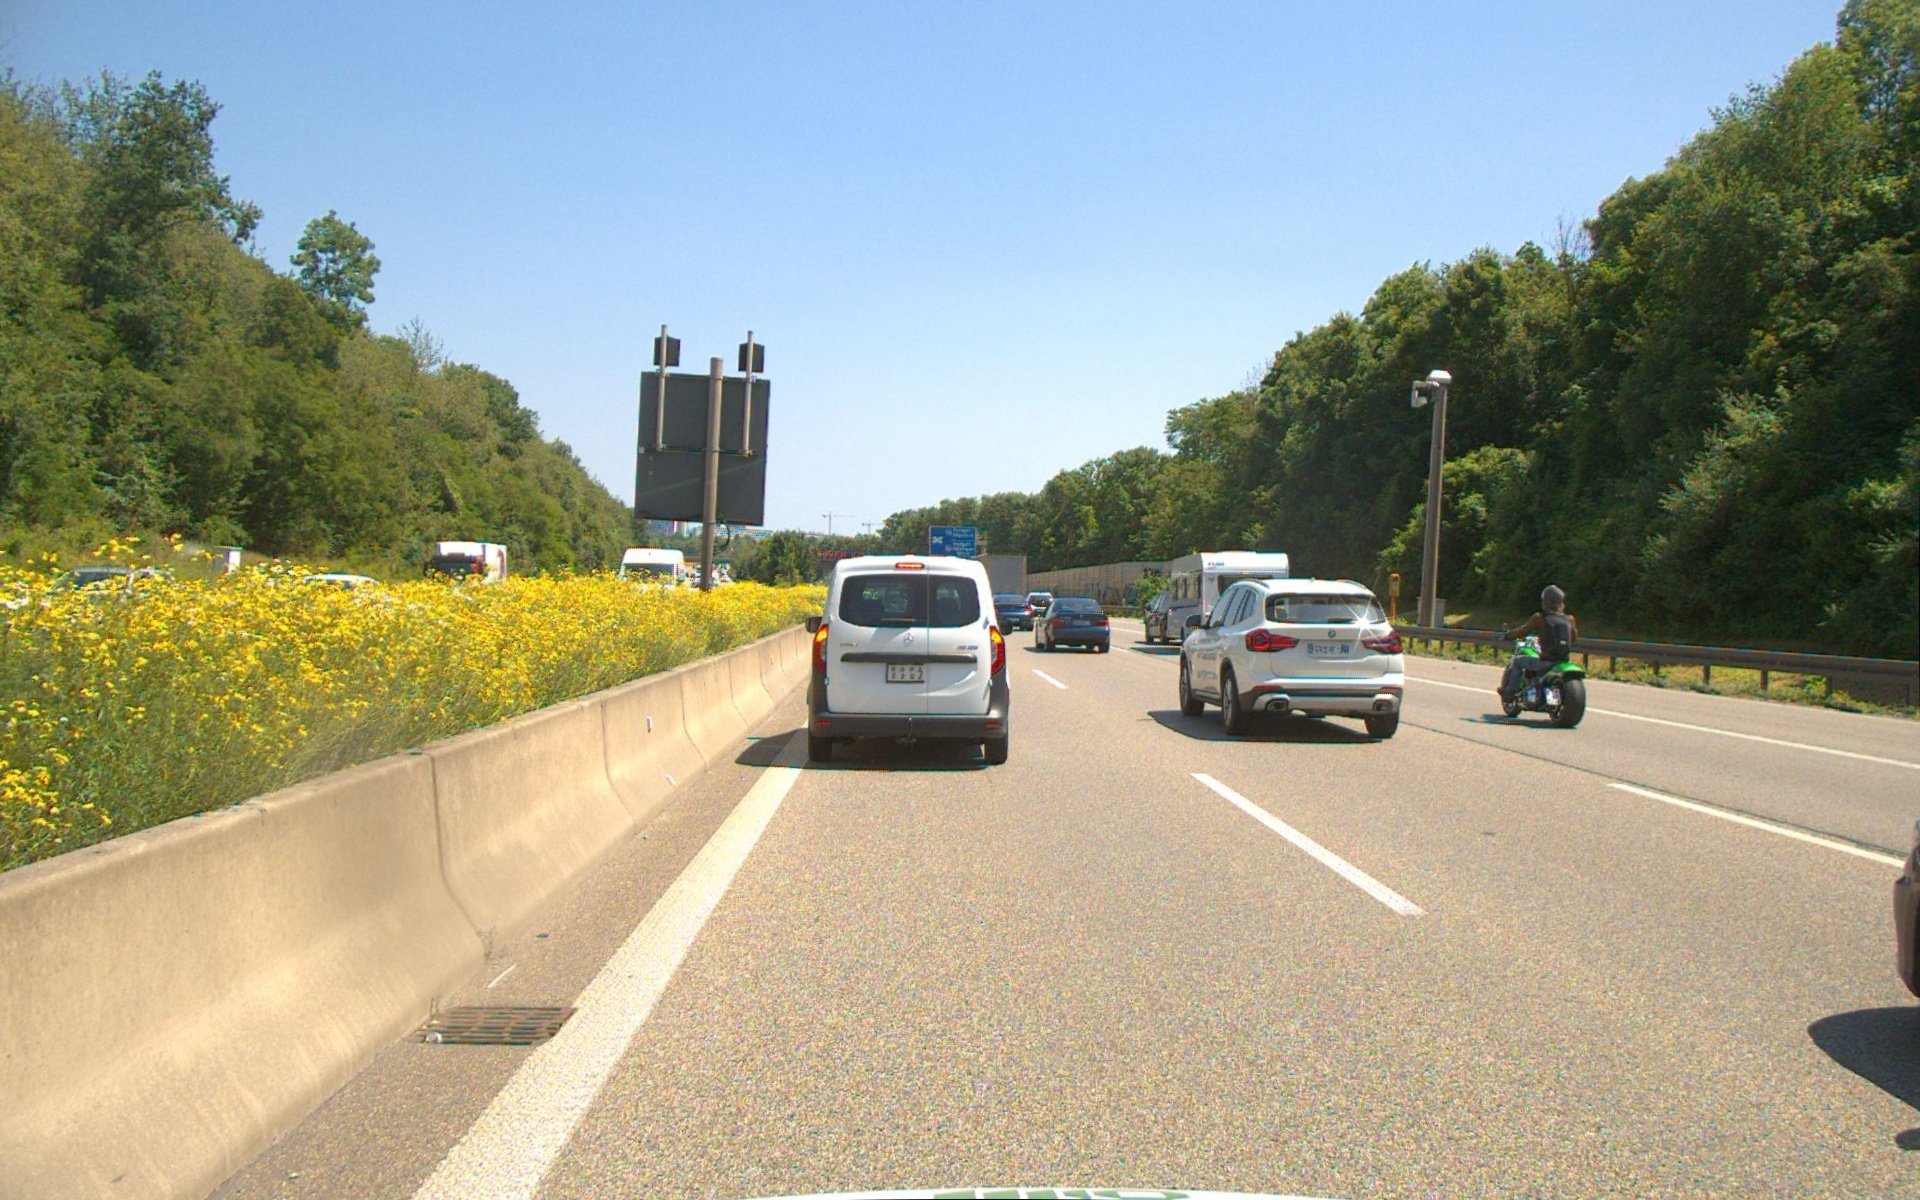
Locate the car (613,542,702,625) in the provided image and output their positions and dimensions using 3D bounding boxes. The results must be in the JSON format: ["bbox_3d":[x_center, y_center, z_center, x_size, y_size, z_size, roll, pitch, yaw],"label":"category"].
[{"bbox_3d":[-10.065,-0.541,55.448,1.953,2.586,5.908,1,0,-1],"label":"car"}]

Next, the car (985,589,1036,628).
[{"bbox_3d":[1.959,0.323,65.561,1.787,1.449,3.999,1,0,-1],"label":"car"}]

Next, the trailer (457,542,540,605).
[{"bbox_3d":[-23.426,-1.322,84.272,2.358,3.058,7.456,1,0,-2],"label":"trailer"}]

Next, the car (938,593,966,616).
[{"bbox_3d":[-0.539,0.270,110.699,1.787,1.472,3.999,1,0,-1],"label":"car"}]

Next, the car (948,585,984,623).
[{"bbox_3d":[0.305,0.198,89.436,1.787,2.024,3.999,1,0,-1],"label":"car"}]

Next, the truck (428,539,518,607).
[{"bbox_3d":[-23.226,-1.278,79.218,2.358,3.058,7.456,1,0,-2],"label":"truck"}]

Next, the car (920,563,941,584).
[{"bbox_3d":[-3.021,-2.726,169.032,1.954,2.049,3.996,1,0,-5],"label":"car"}]

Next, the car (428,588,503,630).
[{"bbox_3d":[-18.413,0.313,61.719,1.752,1.479,3.541,1,0,-1],"label":"car"}]

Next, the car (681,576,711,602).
[{"bbox_3d":[-21.513,-0.890,135.108,1.954,2.049,3.998,1,0,-3],"label":"car"}]

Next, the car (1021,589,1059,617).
[{"bbox_3d":[4.358,0.157,90.654,1.787,1.449,3.999,1,0,-1],"label":"car"}]

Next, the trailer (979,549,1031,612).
[{"bbox_3d":[2.962,-1.296,112.521,3.019,4.055,10.321,1,0,-1],"label":"trailer"}]

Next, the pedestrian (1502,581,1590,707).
[{"bbox_3d":[7.215,0.525,20.383,0.834,1.504,0.638,1,1,3],"label":"pedestrian"}]

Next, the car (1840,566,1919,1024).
[{"bbox_3d":[4.210,0.710,3.869,1.801,1.539,4.400,1,1,-2],"label":"car"}]

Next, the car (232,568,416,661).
[{"bbox_3d":[-11.865,0.239,31.140,1.953,1.602,3.999,1,0,-1],"label":"car"}]

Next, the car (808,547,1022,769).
[{"bbox_3d":[-0.434,0.471,15.859,1.766,1.839,3.999,1,0,-2],"label":"car"}]

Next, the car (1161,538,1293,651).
[{"bbox_3d":[7.137,-0.155,44.923,2.428,2.814,6.218,1,0,-1],"label":"car"}]

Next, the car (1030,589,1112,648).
[{"bbox_3d":[2.858,0.452,43.300,1.787,1.449,3.999,1,0,-1],"label":"car"}]

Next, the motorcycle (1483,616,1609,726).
[{"bbox_3d":[7.205,0.838,20.469,0.841,1.202,2.278,1,1,3],"label":"motorcycle"}]

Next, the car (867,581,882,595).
[{"bbox_3d":[-12.826,-1.766,248.220,1.953,2.049,3.999,1,0,-1],"label":"car"}]

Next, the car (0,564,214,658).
[{"bbox_3d":[-15.733,0.183,30.759,1.953,1.602,3.999,1,0,-1],"label":"car"}]

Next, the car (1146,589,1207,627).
[{"bbox_3d":[8.589,0.292,65.913,1.787,1.449,3.999,1,0,-1],"label":"car"}]

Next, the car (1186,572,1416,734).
[{"bbox_3d":[3.774,0.529,18.954,1.832,1.636,3.879,1,0,0],"label":"car"}]

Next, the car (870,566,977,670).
[{"bbox_3d":[-0.720,0.315,32.622,1.953,1.892,3.999,1,0,-1],"label":"car"}]

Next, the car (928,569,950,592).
[{"bbox_3d":[-1.974,-1.818,155.353,1.953,2.049,3.999,1,0,-1],"label":"car"}]
